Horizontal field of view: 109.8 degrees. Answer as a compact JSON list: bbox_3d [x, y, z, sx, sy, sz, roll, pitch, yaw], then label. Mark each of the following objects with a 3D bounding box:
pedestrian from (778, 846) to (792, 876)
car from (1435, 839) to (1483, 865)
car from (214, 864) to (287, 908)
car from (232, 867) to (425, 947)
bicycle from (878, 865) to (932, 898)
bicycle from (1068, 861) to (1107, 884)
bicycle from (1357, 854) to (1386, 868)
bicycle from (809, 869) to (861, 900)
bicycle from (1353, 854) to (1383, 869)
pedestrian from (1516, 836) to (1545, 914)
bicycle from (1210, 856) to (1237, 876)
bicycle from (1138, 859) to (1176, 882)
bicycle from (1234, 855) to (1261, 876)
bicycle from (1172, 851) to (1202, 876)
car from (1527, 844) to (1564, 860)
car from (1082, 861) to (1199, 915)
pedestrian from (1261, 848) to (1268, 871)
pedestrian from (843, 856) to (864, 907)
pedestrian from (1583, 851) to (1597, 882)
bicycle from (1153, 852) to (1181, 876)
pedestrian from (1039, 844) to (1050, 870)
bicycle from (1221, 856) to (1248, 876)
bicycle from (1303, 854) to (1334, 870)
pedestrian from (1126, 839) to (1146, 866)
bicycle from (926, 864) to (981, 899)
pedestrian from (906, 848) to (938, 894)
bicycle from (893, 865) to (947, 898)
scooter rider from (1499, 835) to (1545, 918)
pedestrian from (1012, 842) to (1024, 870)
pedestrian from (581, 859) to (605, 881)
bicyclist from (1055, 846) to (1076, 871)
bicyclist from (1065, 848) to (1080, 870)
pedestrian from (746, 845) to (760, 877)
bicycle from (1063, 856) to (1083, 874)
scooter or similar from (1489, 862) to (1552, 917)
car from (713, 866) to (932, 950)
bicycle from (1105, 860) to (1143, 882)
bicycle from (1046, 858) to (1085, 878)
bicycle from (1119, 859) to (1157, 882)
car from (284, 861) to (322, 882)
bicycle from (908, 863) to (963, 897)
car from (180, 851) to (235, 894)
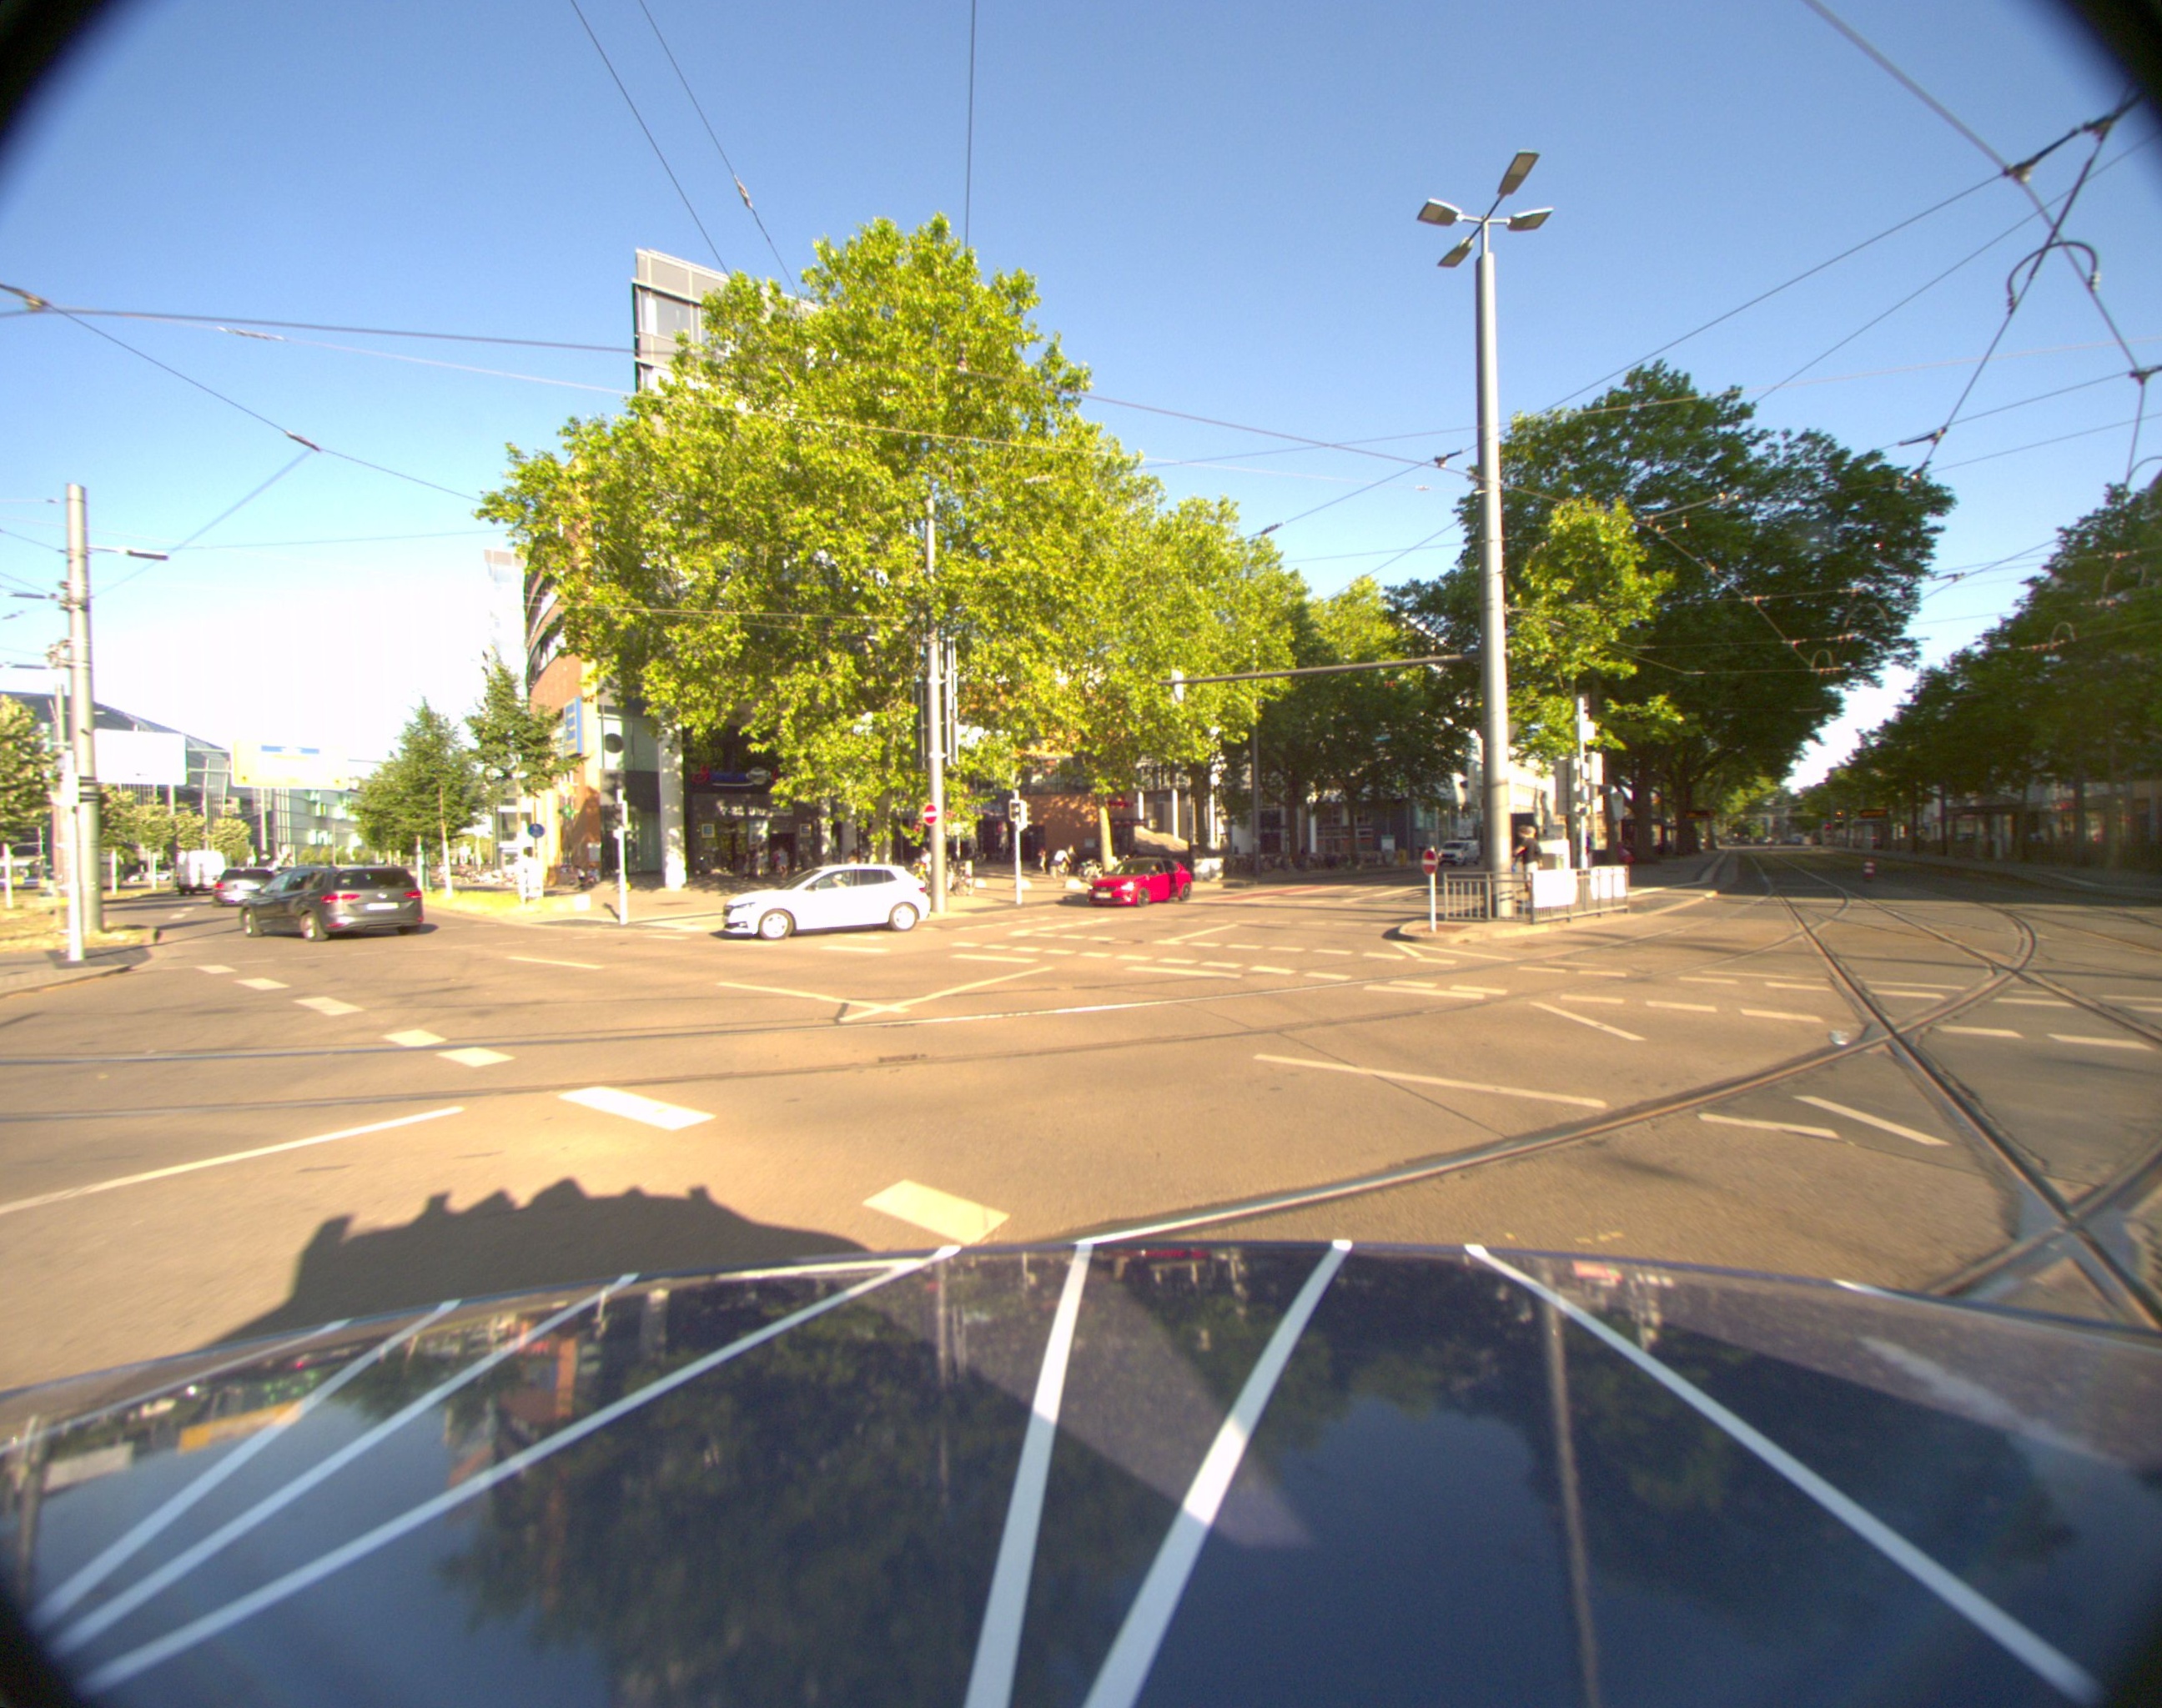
[{"bbox_3d":[-16.404,0.401,42.095,0.596,1.647,0.591,-1,1,-30],"label":"pedestrian"},{"bbox_3d":[30.517,-0.165,61.246,1.967,1.934,4.975,-1,0,45],"label":"car"},{"bbox_3d":[-34.063,1.284,31.257,4.251,1.622,1.869,-1,0,44],"label":"car"},{"bbox_3d":[-16.688,1.119,16.842,4.165,1.593,1.622,-1,-1,24],"label":"car"},{"bbox_3d":[-6.487,0.994,28.026,0.773,1.123,1.847,0,1,37],"label":"bicycle"},{"bbox_3d":[0.338,0.876,37.206,0.781,1.057,1.951,0,1,42],"label":"bicycle"},{"bbox_3d":[21.606,0.533,56.453,1.941,1.057,0.579,-1,1,34],"label":"bicycle"},{"bbox_3d":[-8.876,1.097,27.458,0.547,1.030,1.703,0,1,42],"label":"bicycle"},{"bbox_3d":[20.558,0.557,54.397,1.941,1.057,0.579,-1,1,34],"label":"bicycle"},{"bbox_3d":[10.433,0.473,17.655,0.568,1.786,0.674,0,1,29],"label":"pedestrian"},{"bbox_3d":[8.134,0.667,43.377,0.577,1.057,1.951,0,1,42],"label":"bicycle"},{"bbox_3d":[3.645,0.776,36.274,0.781,1.057,1.951,0,1,42],"label":"bicycle"},{"bbox_3d":[9.284,0.629,42.251,0.577,1.057,1.951,0,1,42],"label":"bicycle"},{"bbox_3d":[5.501,0.470,39.691,0.783,1.182,3.556,-1,0,-4],"label":"bicycle"},{"bbox_3d":[44.770,-0.226,73.162,4.007,1.419,1.688,-1,0,-37],"label":"car"},{"bbox_3d":[1.931,0.988,23.594,1.687,1.419,4.008,-1,0,37],"label":"car"},{"bbox_3d":[12.262,0.349,50.849,0.410,1.546,0.448,-1,1,11],"label":"pedestrian"},{"bbox_3d":[-6.874,0.823,22.933,0.573,1.529,0.484,-1,1,-18],"label":"pedestrian"},{"bbox_3d":[17.227,0.419,25.712,0.405,1.026,0.379,0,1,34],"label":"pedestrian"},{"bbox_3d":[4.399,0.500,39.259,0.783,1.182,3.556,-1,0,-4],"label":"bicycle"},{"bbox_3d":[-2.315,0.179,48.572,0.544,1.660,0.569,-1,1,-19],"label":"pedestrian"},{"bbox_3d":[8.648,0.650,42.773,0.577,1.057,1.951,0,1,42],"label":"bicycle"},{"bbox_3d":[16.204,0.564,51.939,1.942,1.057,0.579,-1,1,25],"label":"bicycle"},{"bbox_3d":[3.166,-0.070,43.707,0.764,1.533,0.877,0,1,36],"label":"pedestrian"},{"bbox_3d":[-4.444,0.929,26.537,0.773,1.123,1.847,0,1,37],"label":"bicycle"},{"bbox_3d":[-6.142,0.650,29.332,0.895,1.754,0.729,-1,0,-44],"label":"pedestrian"},{"bbox_3d":[-5.811,0.972,27.531,0.773,1.123,1.847,0,1,37],"label":"bicycle"},{"bbox_3d":[9.925,0.484,17.101,0.590,1.822,0.761,-2,1,-44],"label":"scooter rider"},{"bbox_3d":[-3.890,0.118,46.966,0.571,1.660,0.542,-1,1,-34],"label":"pedestrian"},{"bbox_3d":[-25.106,0.827,39.065,0.679,1.075,0.778,0,1,30],"label":"pedestrian"},{"bbox_3d":[-0.862,0.249,41.740,0.960,1.337,0.674,-1,1,-21],"label":"bicyclist"},{"bbox_3d":[-0.487,0.300,45.383,0.674,1.292,0.960,-1,1,13],"label":"bicyclist"},{"bbox_3d":[-17.783,0.379,41.204,0.593,1.745,0.594,-1,1,-18],"label":"pedestrian"},{"bbox_3d":[-0.455,0.652,45.469,0.694,1.061,2.017,-1,1,14],"label":"bicycle"},{"bbox_3d":[9.902,0.786,17.142,0.456,1.172,1.156,-2,1,-43],"label":"scooter or similar"},{"bbox_3d":[-5.324,1.027,15.866,4.007,1.443,1.632,-1,0,-34],"label":"car"},{"bbox_3d":[2.124,0.824,37.352,0.781,1.057,1.951,0,1,42],"label":"bicycle"},{"bbox_3d":[-0.862,0.777,41.754,2.017,1.061,0.694,-1,1,-22],"label":"bicycle"},{"bbox_3d":[2.782,0.803,36.797,0.781,1.057,1.951,0,1,42],"label":"bicycle"},{"bbox_3d":[-77.228,1.685,75.456,1.614,2.002,3.877,-1,1,-30],"label":"car"},{"bbox_3d":[-5.148,0.905,27.003,0.773,1.123,1.847,0,1,37],"label":"bicycle"},{"bbox_3d":[-53.458,1.159,46.465,5.958,2.466,2.004,-2,0,40],"label":"car"}]
